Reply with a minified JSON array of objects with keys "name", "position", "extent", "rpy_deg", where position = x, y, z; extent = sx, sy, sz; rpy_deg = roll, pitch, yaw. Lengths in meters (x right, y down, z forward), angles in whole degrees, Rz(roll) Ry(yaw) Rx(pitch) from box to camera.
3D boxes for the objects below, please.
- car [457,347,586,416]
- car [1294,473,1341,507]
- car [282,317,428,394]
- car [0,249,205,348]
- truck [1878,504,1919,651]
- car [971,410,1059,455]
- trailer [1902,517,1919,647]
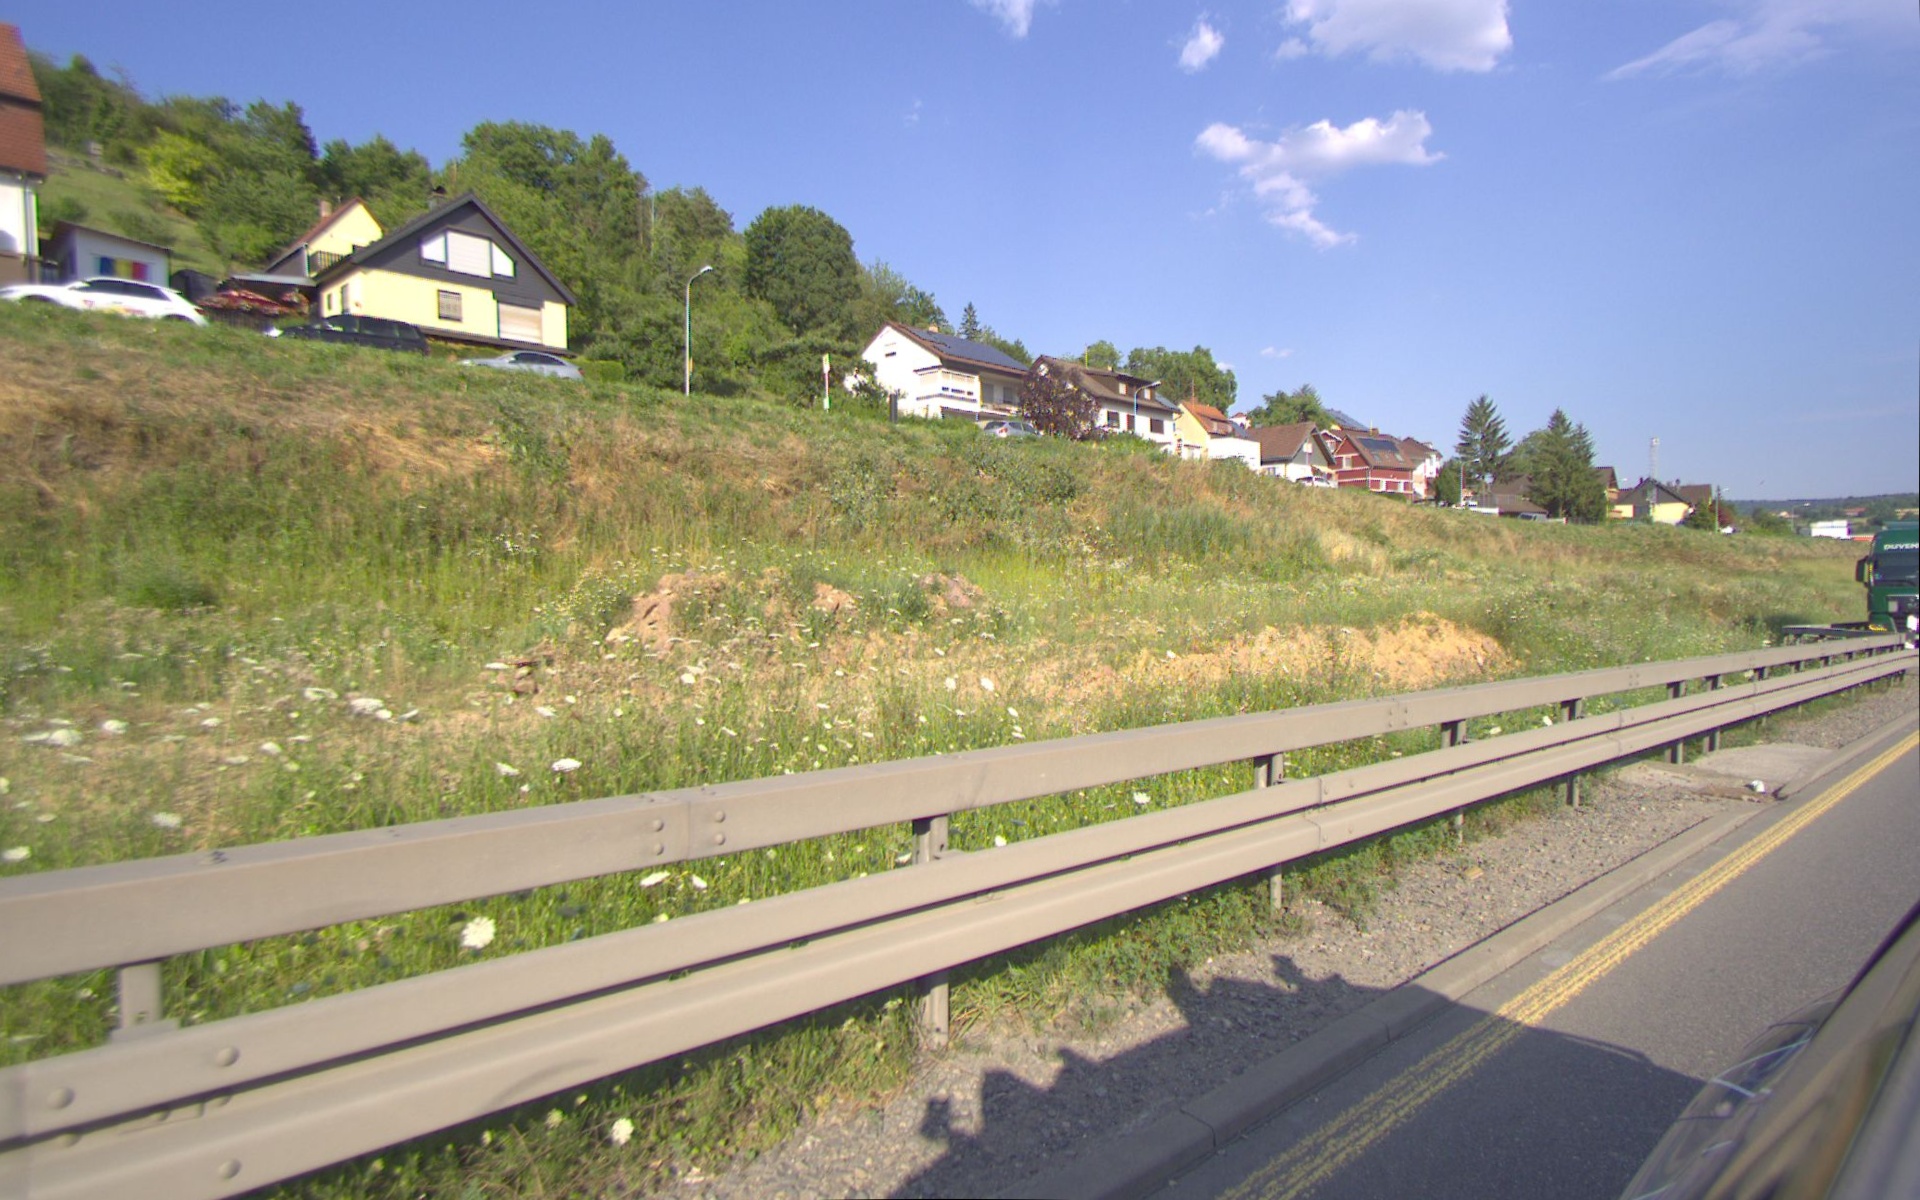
[{"name":"car","position":[-13.752,-6.827,31.878],"extent":[1.443,1.389,3.507],"rpy_deg":[-1,0,39]},{"name":"car","position":[26.369,-8.080,74.567],"extent":[1.992,2.039,3.940],"rpy_deg":[0,0,41]},{"name":"car","position":[-16.958,-6.812,28.488],"extent":[1.340,1.340,3.298],"rpy_deg":[-1,0,37]},{"name":"car","position":[-20.748,-7.194,24.435],"extent":[1.341,1.248,3.846],"rpy_deg":[-1,0,39]},{"name":"truck","position":[29.034,-0.643,29.537],"extent":[5.964,4.066,2.545],"rpy_deg":[0,0,-40]},{"name":"car","position":[2.635,-7.910,48.009],"extent":[3.933,1.460,1.995],"rpy_deg":[0,0,-43]},{"name":"trailer","position":[34.535,-0.595,34.281],"extent":[11.867,3.984,2.552],"rpy_deg":[0,0,-41]}]
